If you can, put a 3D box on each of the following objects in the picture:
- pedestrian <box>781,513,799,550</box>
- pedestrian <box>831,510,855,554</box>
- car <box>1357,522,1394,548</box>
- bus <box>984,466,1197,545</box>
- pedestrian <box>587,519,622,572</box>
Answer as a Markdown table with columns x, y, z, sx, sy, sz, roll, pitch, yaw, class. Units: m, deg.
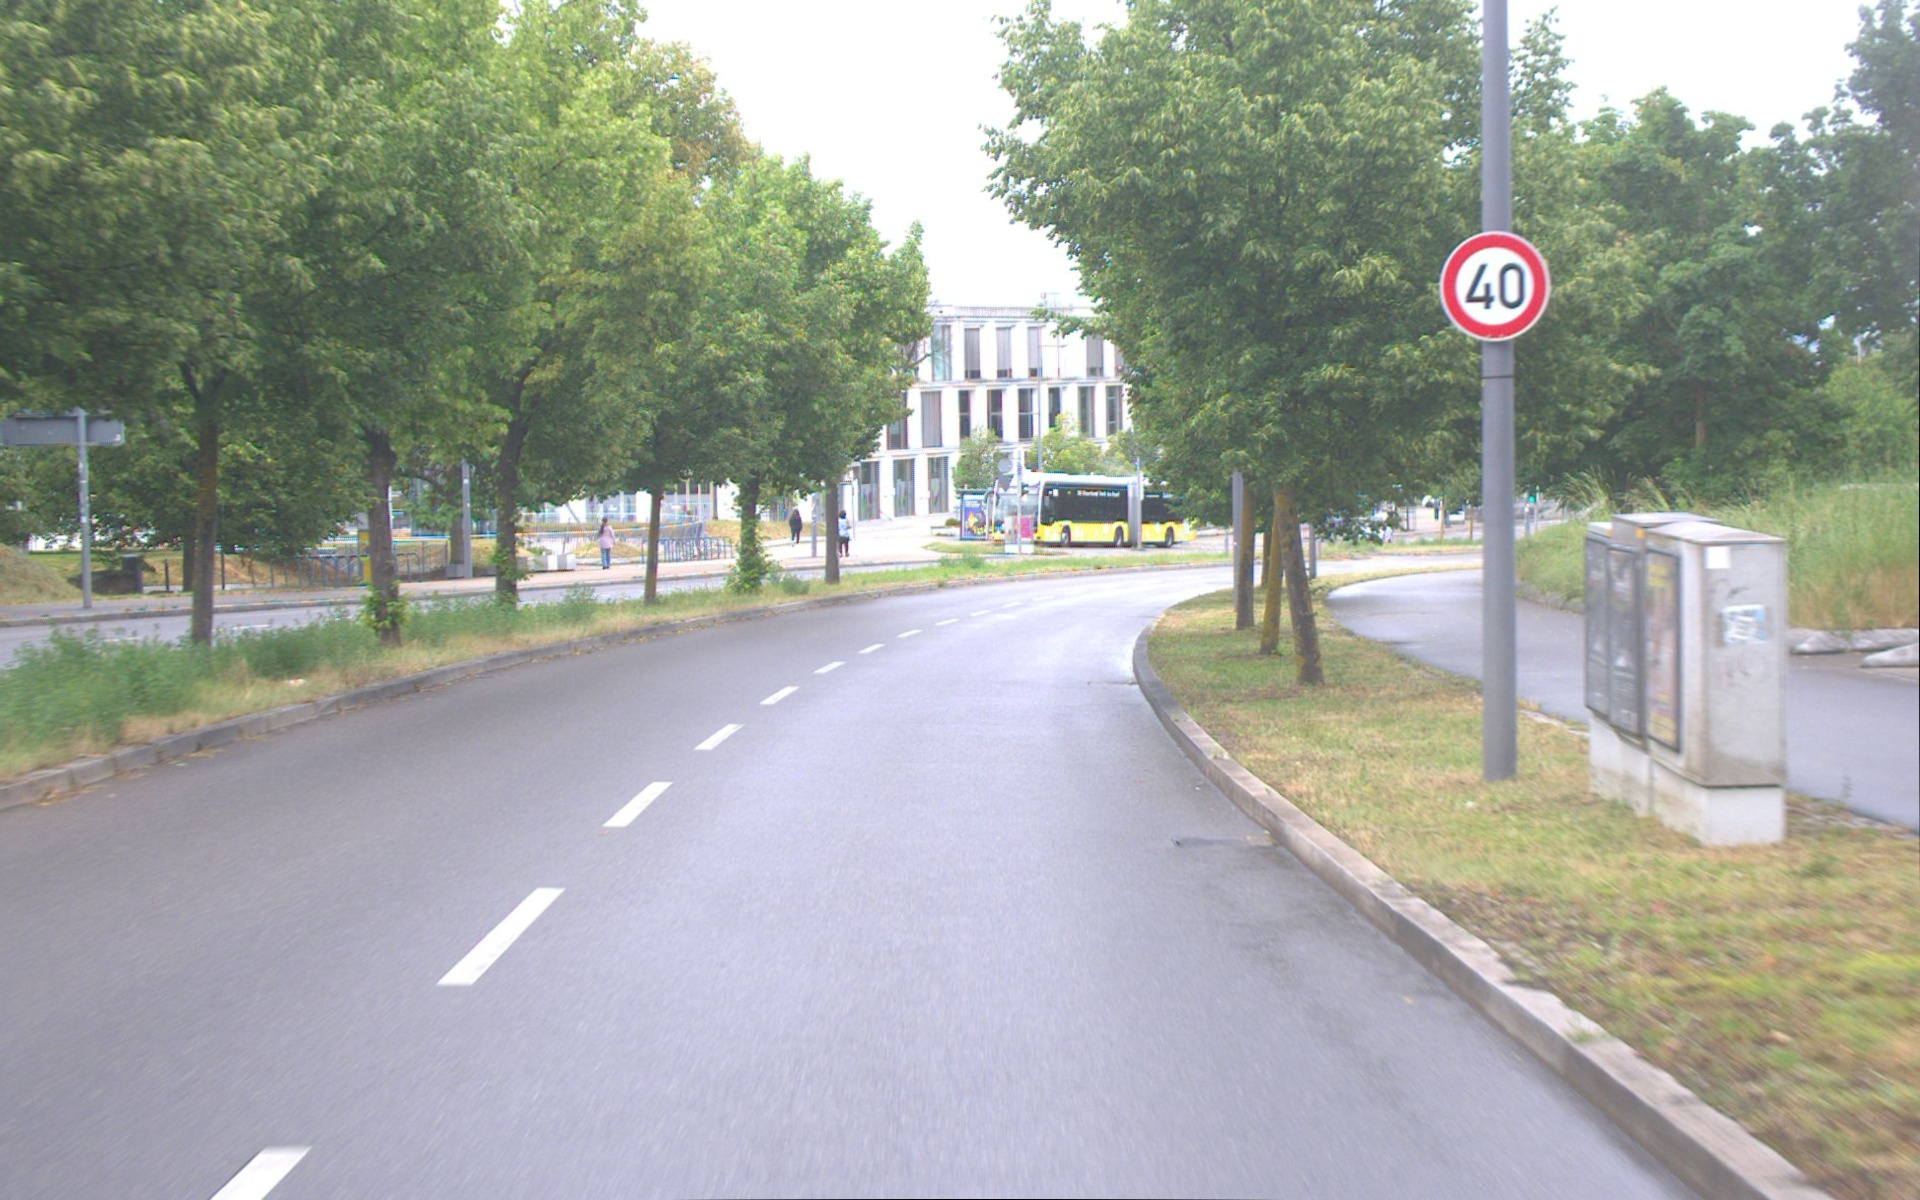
| x | y | z | sx | sy | sz | roll | pitch | yaw | class |
| --- | --- | --- | --- | --- | --- | --- | --- | --- | --- |
| -7.195 | -2.902 | 145.578 | 0.682 | 1.519 | 0.719 | 0 | 0 | 2 | pedestrian |
| -4.199 | -2.443 | 123.202 | 0.834 | 1.568 | 0.719 | 0 | 0 | -5 | pedestrian |
| 24.516 | -3.812 | 202.775 | 1.480 | 1.489 | 2.527 | 0 | 0 | 25 | car |
| 6.477 | -4.392 | 164.194 | 2.789 | 3.345 | 18.199 | 0 | 0 | 27 | bus |
| -10.961 | -1.673 | 106.106 | 0.814 | 1.615 | 0.935 | 0 | 0 | 12 | pedestrian |
